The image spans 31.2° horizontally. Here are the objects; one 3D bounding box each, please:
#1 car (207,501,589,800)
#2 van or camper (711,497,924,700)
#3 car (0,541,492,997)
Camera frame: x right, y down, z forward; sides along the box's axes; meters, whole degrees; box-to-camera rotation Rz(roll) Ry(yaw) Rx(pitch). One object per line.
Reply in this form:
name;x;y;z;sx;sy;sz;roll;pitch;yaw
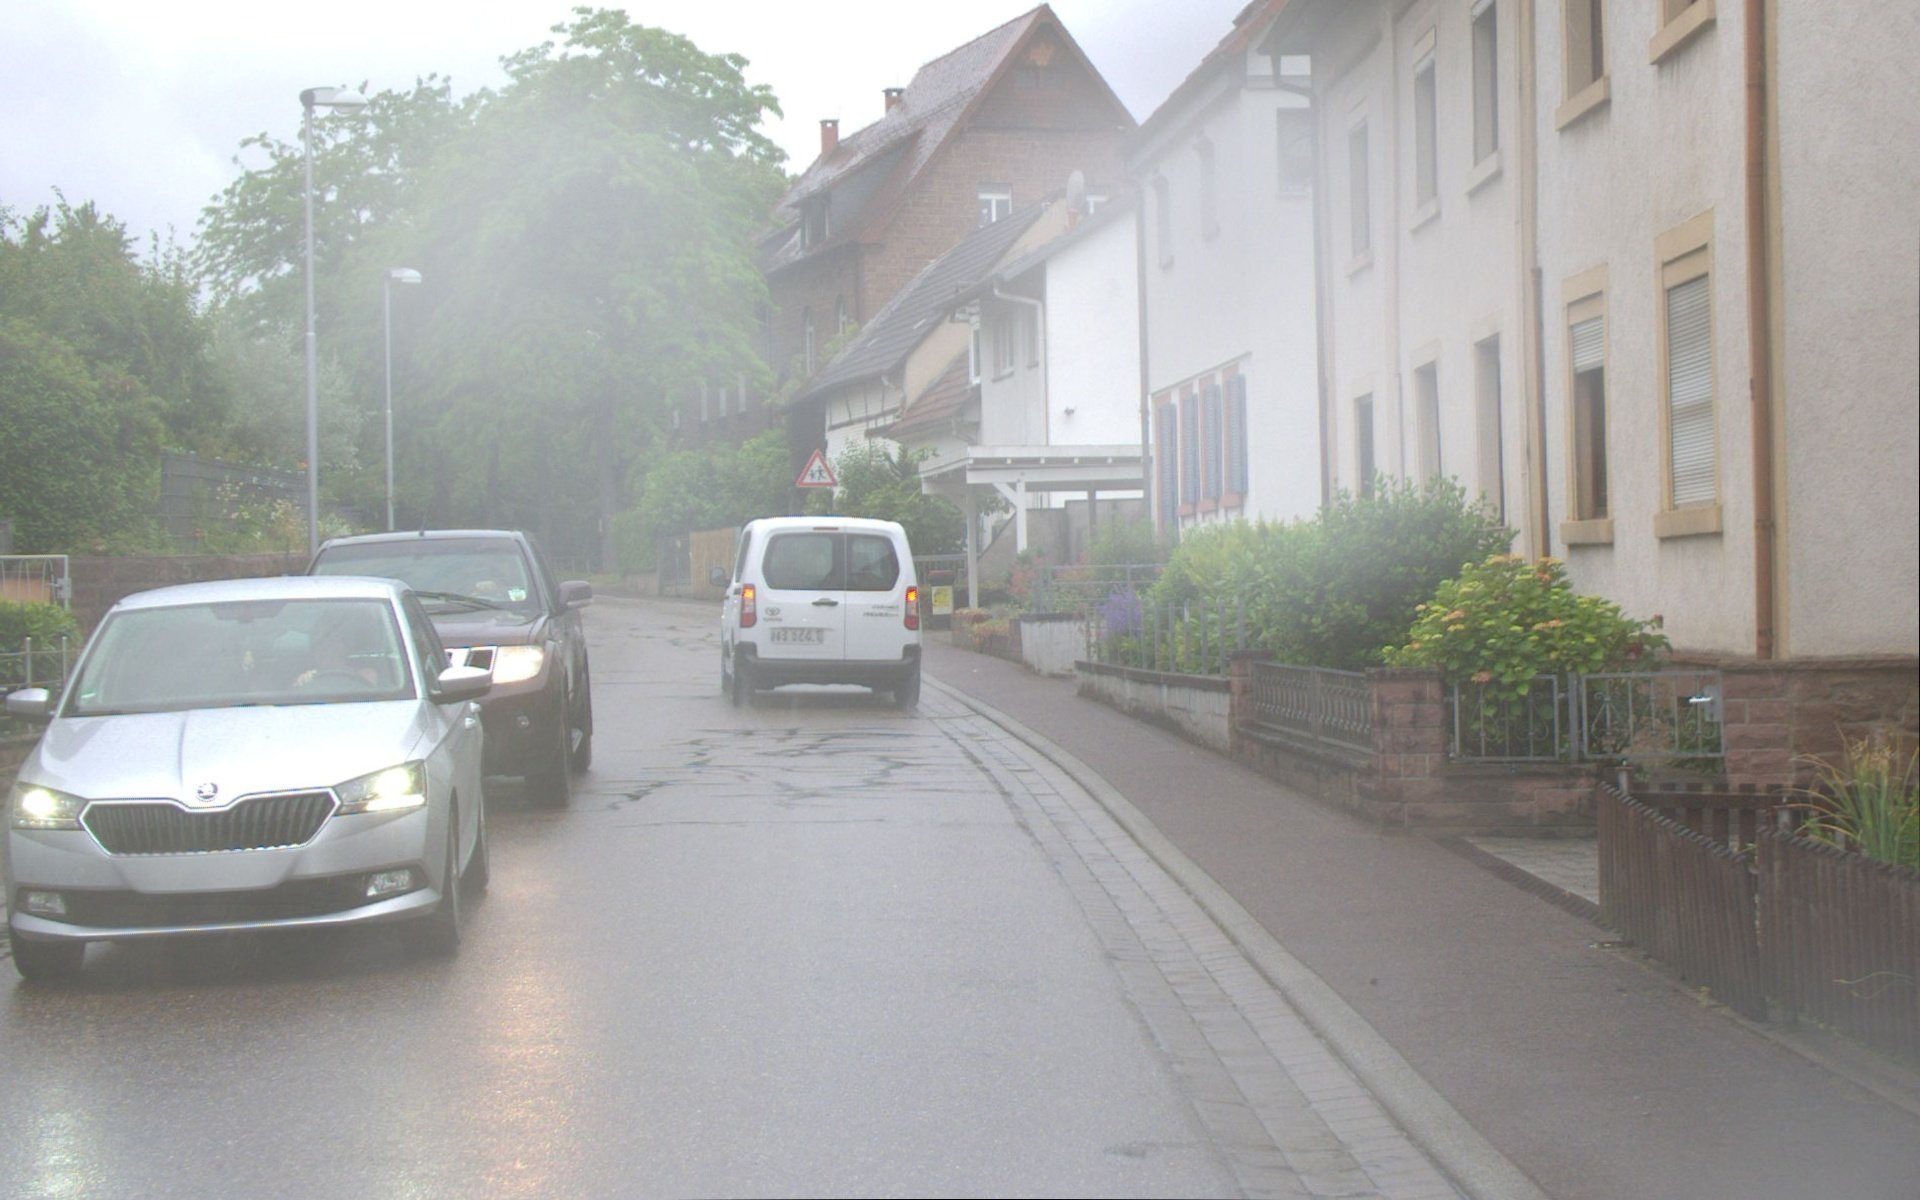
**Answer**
car;-3.471;0.247;22.076;1.993;1.672;4.784;-1;1;-5
van or camper;-1.359;-0.054;33.829;1.943;1.844;4.000;-1;1;-1
car;-2.850;0.563;14.169;1.688;1.559;3.935;-1;1;-6
